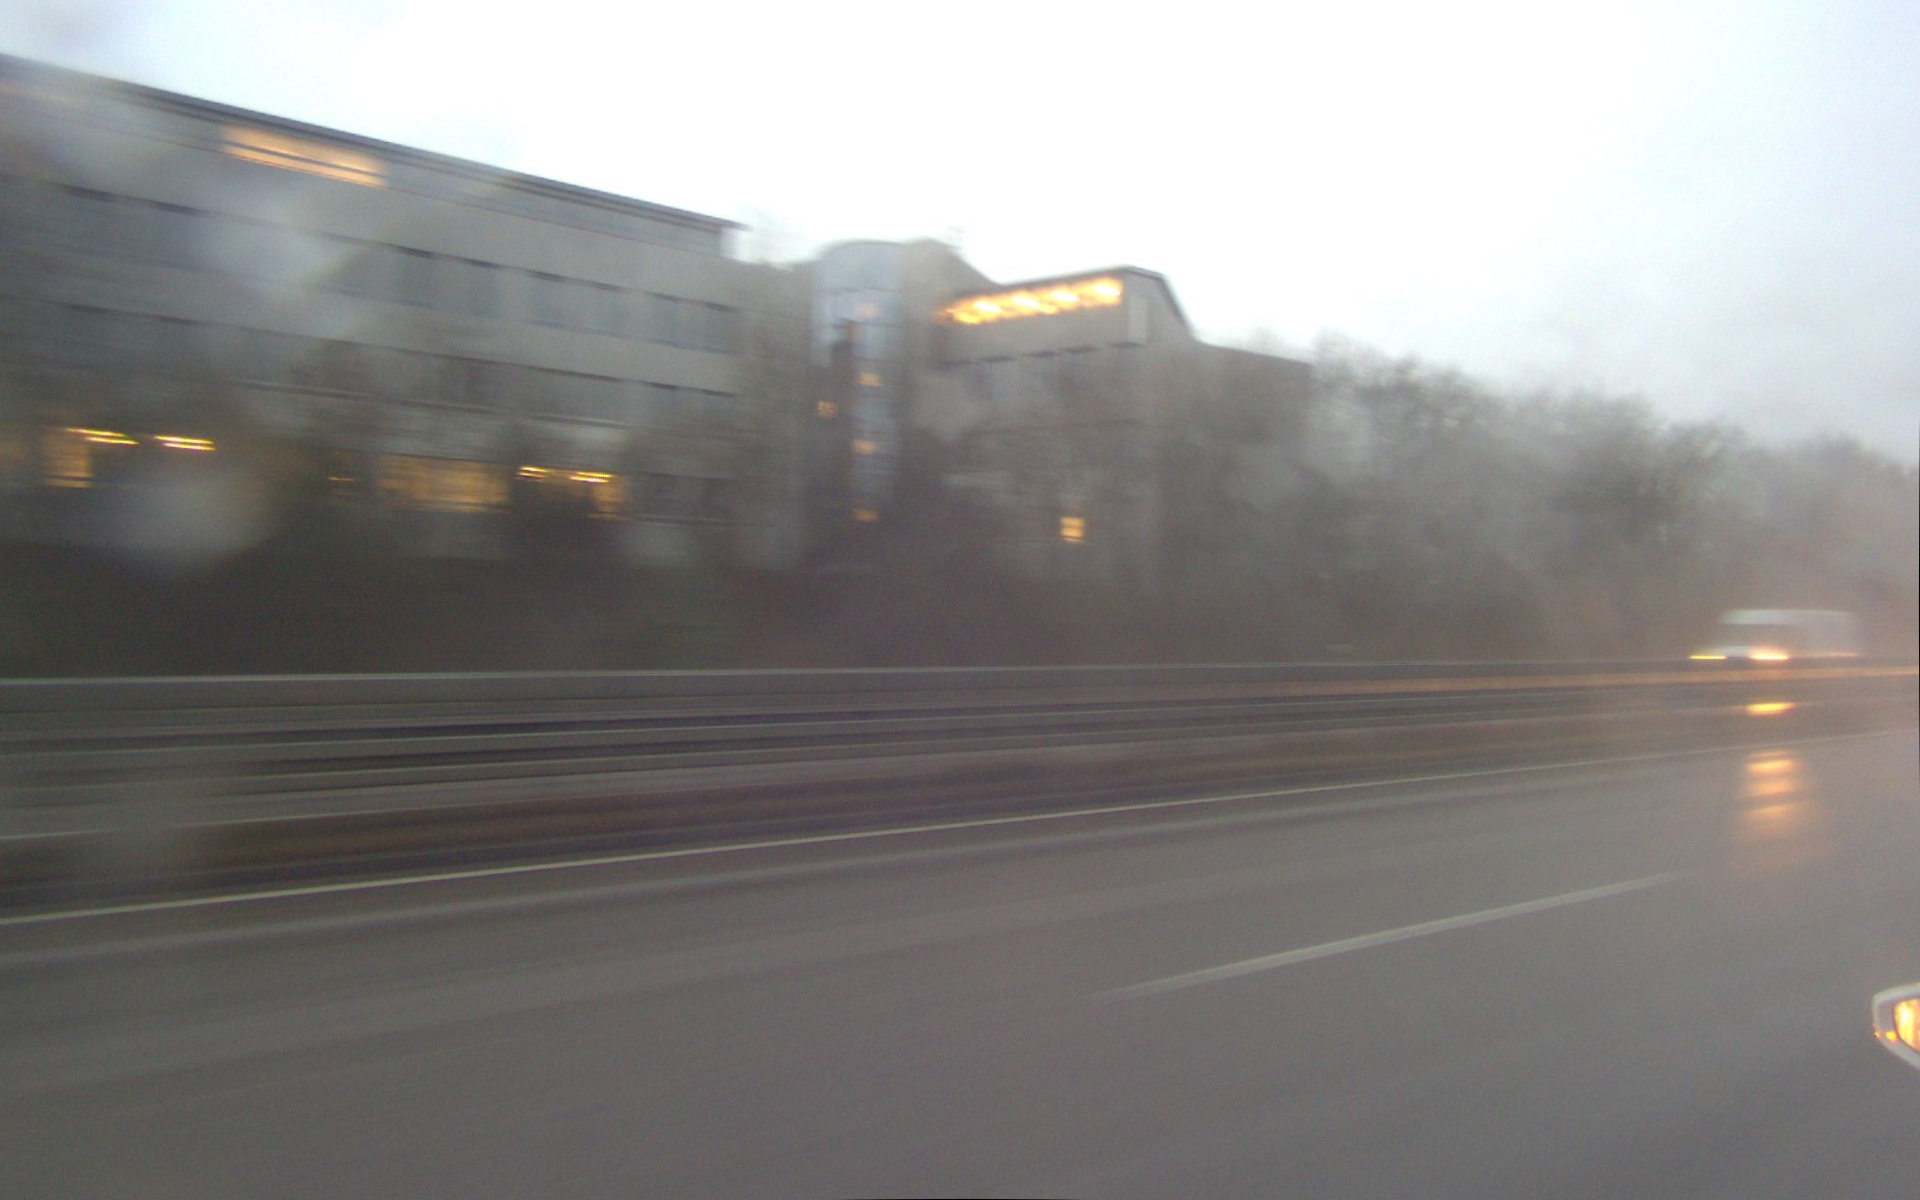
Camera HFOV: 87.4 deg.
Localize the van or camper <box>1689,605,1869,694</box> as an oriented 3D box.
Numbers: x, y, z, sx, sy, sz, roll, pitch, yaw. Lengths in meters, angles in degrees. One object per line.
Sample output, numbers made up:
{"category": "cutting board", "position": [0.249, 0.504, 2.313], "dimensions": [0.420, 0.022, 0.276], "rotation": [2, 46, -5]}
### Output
{"category": "van or camper", "position": [26.954, 1.571, 32.945], "dimensions": [7.316, 2.606, 2.066], "rotation": [1, 1, -30]}
